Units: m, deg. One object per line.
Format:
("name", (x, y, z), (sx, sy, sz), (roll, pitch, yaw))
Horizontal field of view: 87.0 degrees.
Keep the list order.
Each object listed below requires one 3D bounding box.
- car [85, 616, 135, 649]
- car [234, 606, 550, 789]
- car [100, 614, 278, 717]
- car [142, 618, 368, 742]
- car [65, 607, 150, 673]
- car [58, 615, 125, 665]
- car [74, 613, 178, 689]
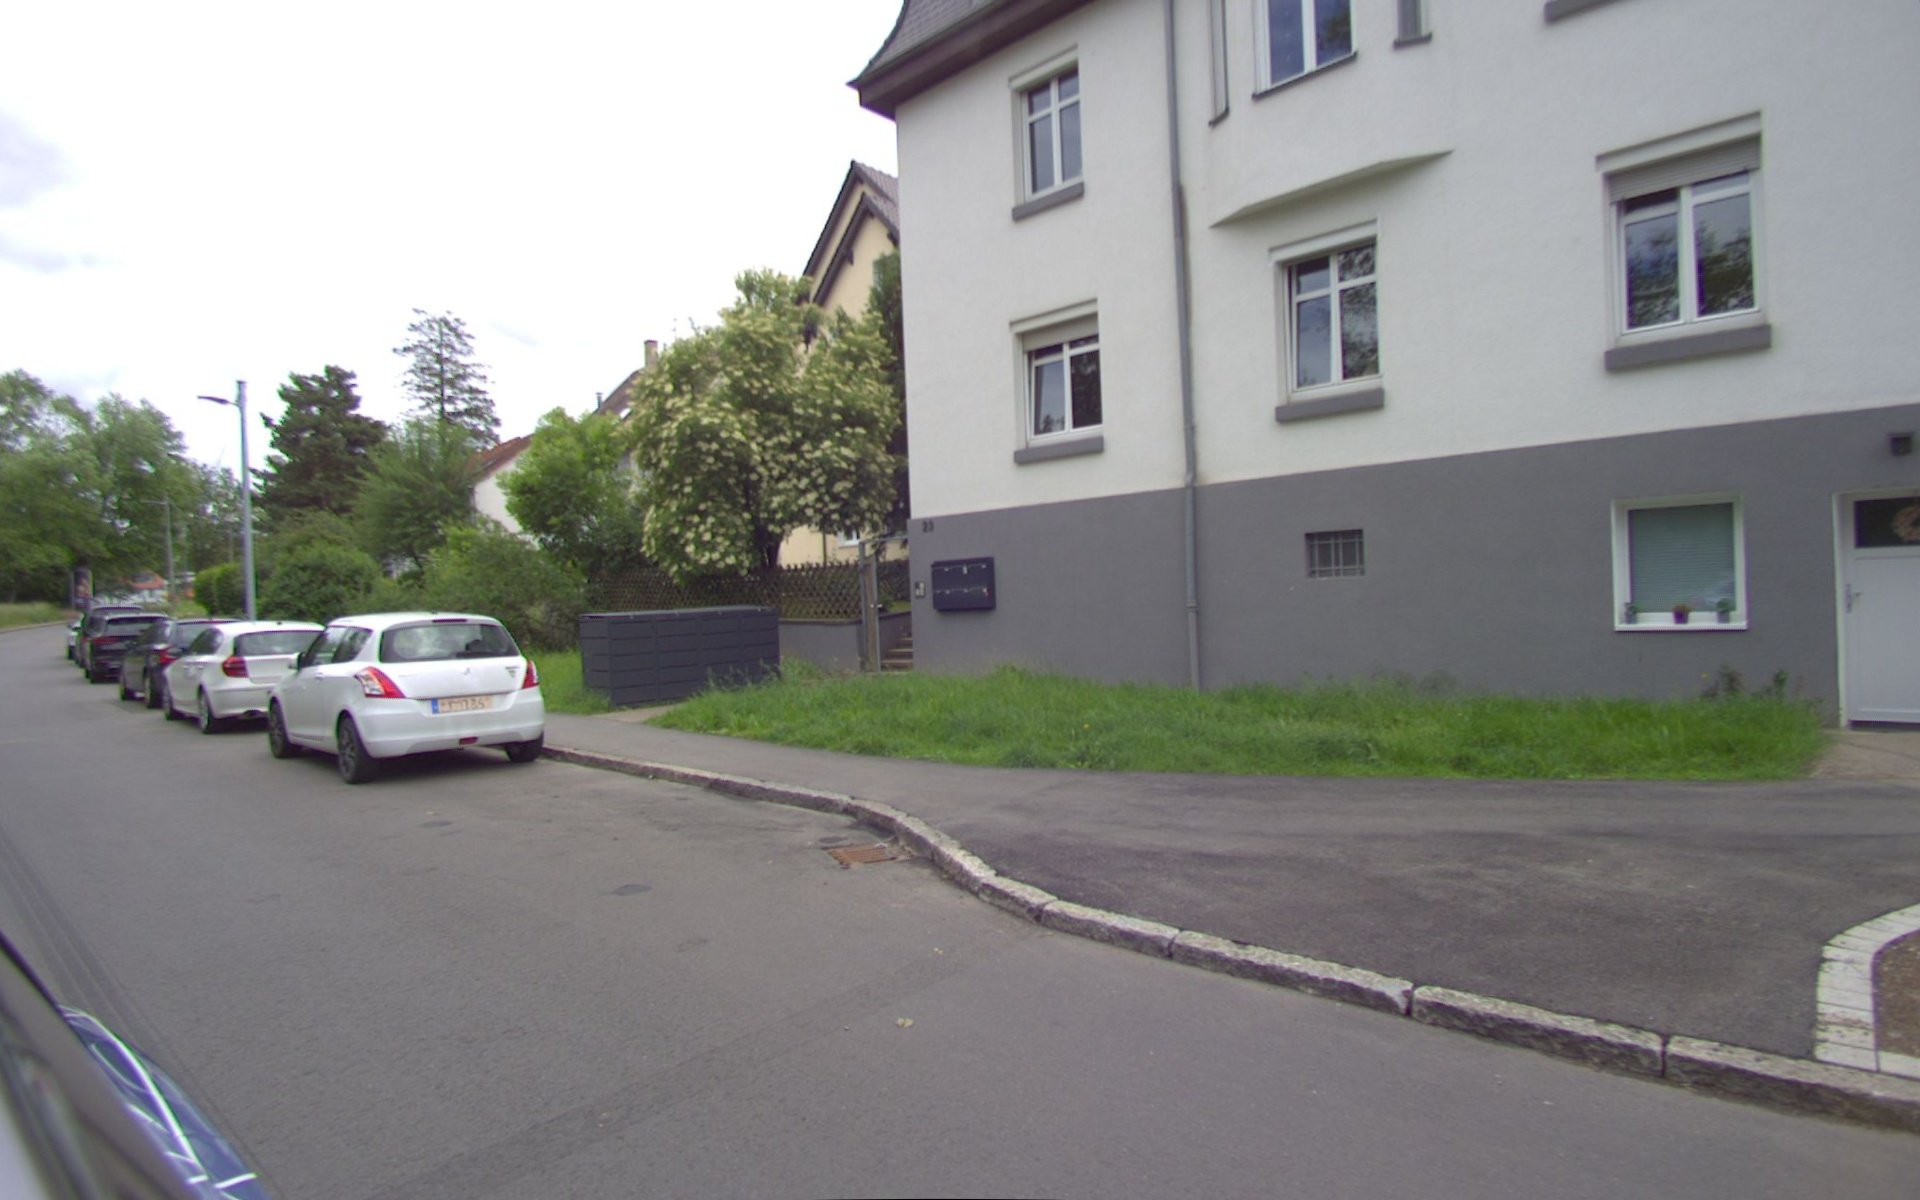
("car", (-40.940, 1.533, 48.799), (1.710, 1.439, 3.464), (-1, 1, -39))
("car", (-5.924, 0.865, 10.342), (4.070, 1.481, 1.625), (-2, -1, 43))
("car", (-13.863, 1.081, 18.086), (4.814, 1.585, 1.708), (-2, -1, 43))
("car", (-10.102, 0.995, 14.340), (4.727, 1.400, 1.706), (0, 0, 43))
("car", (-25.788, 1.146, 30.572), (1.775, 1.814, 4.069), (-1, 0, -43))
("car", (-29.525, 1.303, 34.390), (1.641, 1.516, 4.050), (-1, 0, -41))
("car", (-20.009, 1.139, 24.223), (1.642, 1.593, 4.081), (-1, 0, -43))
